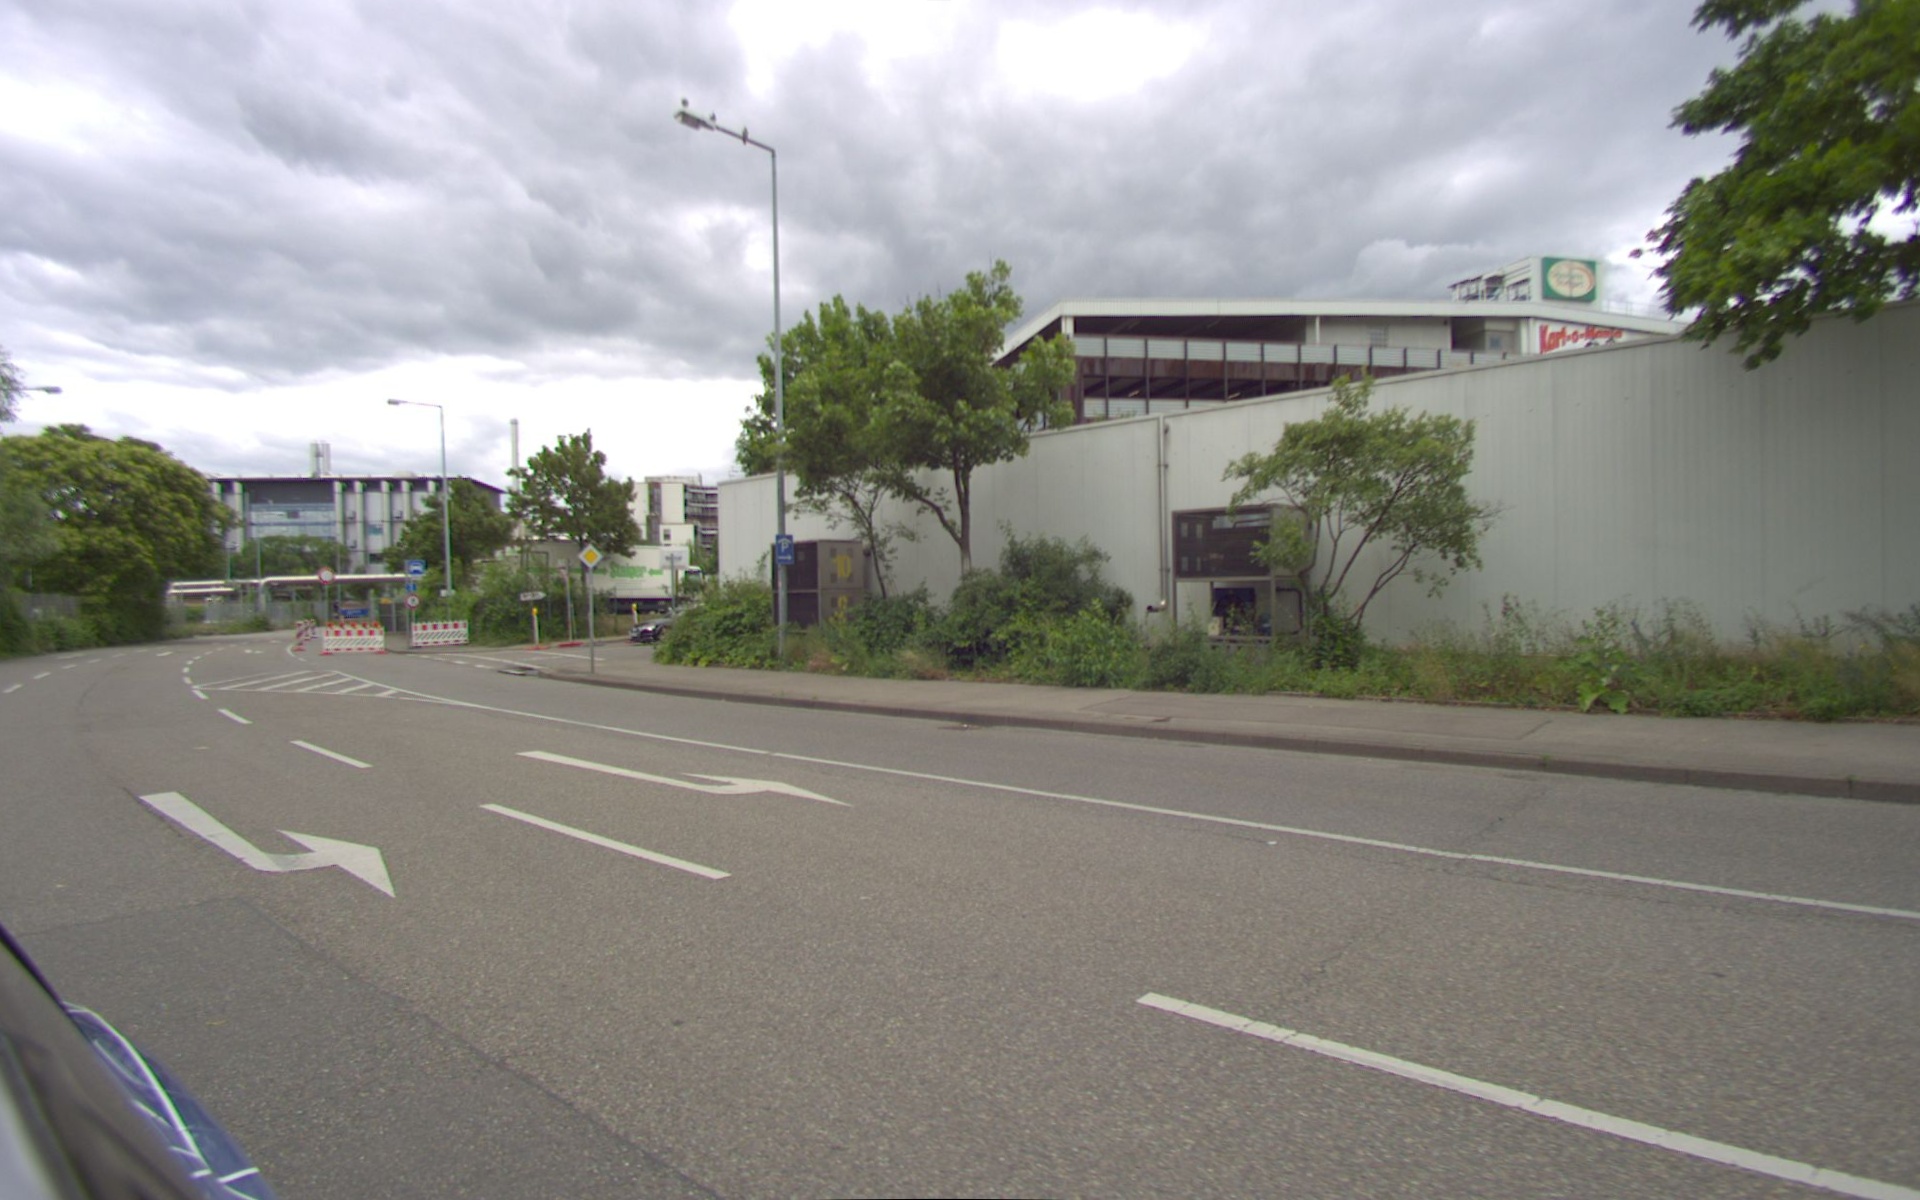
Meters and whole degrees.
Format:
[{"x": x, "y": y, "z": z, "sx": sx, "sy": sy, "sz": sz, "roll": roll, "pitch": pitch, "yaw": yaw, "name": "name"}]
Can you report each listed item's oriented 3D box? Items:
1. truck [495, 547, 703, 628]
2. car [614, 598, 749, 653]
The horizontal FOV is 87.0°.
[{"x": -17.429, "y": -0.599, "z": 49.422, "sx": 9.137, "sy": 3.623, "sz": 2.935, "roll": -1, "pitch": 0, "yaw": -42, "name": "truck"}, {"x": -10.620, "y": 0.938, "z": 38.782, "sx": 4.553, "sy": 1.823, "sz": 2.002, "roll": -3, "pitch": 1, "yaw": -43, "name": "car"}]
